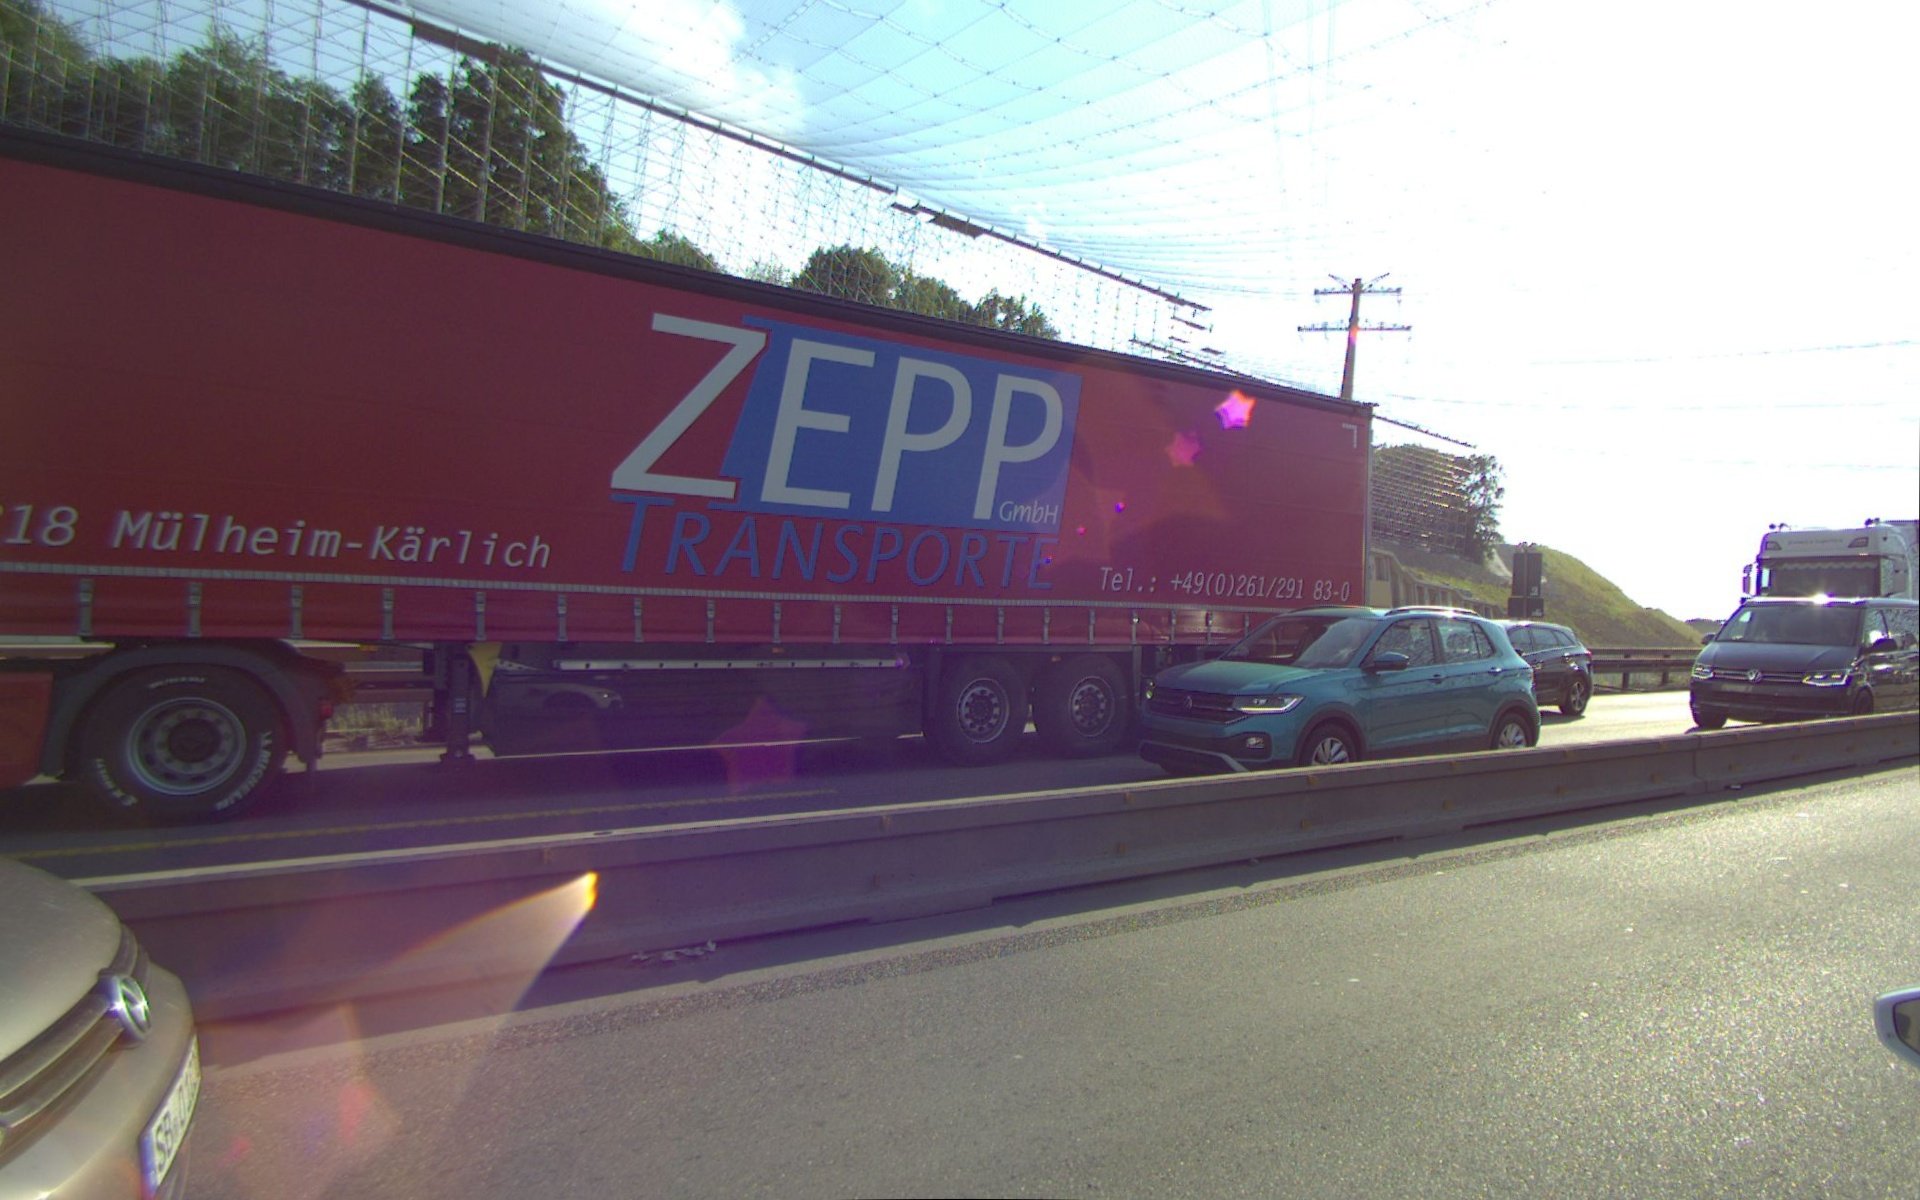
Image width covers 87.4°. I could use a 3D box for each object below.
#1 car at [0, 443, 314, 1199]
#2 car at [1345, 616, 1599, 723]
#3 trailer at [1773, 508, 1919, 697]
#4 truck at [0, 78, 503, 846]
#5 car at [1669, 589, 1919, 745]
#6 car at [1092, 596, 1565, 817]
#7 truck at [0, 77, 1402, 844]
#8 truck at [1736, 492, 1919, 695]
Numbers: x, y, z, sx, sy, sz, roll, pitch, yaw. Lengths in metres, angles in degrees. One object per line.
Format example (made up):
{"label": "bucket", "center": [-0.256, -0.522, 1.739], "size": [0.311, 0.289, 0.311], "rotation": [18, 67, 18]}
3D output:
{"label": "car", "center": [-3.053, 0.554, 0.896], "size": [4.053, 1.595, 1.675], "rotation": [2, 0, -31]}
{"label": "car", "center": [8.222, 1.051, 16.051], "size": [4.091, 1.467, 1.712], "rotation": [2, 0, -31]}
{"label": "trailer", "center": [26.747, 0.173, 27.778], "size": [13.775, 4.290, 2.637], "rotation": [2, 1, -34]}
{"label": "truck", "center": [-6.673, -0.780, 6.233], "size": [6.606, 4.196, 2.772], "rotation": [2, -1, -32]}
{"label": "car", "center": [12.719, 0.905, 14.912], "size": [4.808, 1.961, 1.864], "rotation": [2, 1, -33]}
{"label": "car", "center": [3.398, 0.812, 9.039], "size": [4.219, 1.555, 1.733], "rotation": [2, 0, -31]}
{"label": "truck", "center": [-1.131, -0.574, 9.774], "size": [13.657, 4.196, 2.772], "rotation": [2, -1, -32]}
{"label": "truck", "center": [21.337, -0.050, 24.026], "size": [6.042, 4.286, 2.645], "rotation": [2, -1, -35]}
